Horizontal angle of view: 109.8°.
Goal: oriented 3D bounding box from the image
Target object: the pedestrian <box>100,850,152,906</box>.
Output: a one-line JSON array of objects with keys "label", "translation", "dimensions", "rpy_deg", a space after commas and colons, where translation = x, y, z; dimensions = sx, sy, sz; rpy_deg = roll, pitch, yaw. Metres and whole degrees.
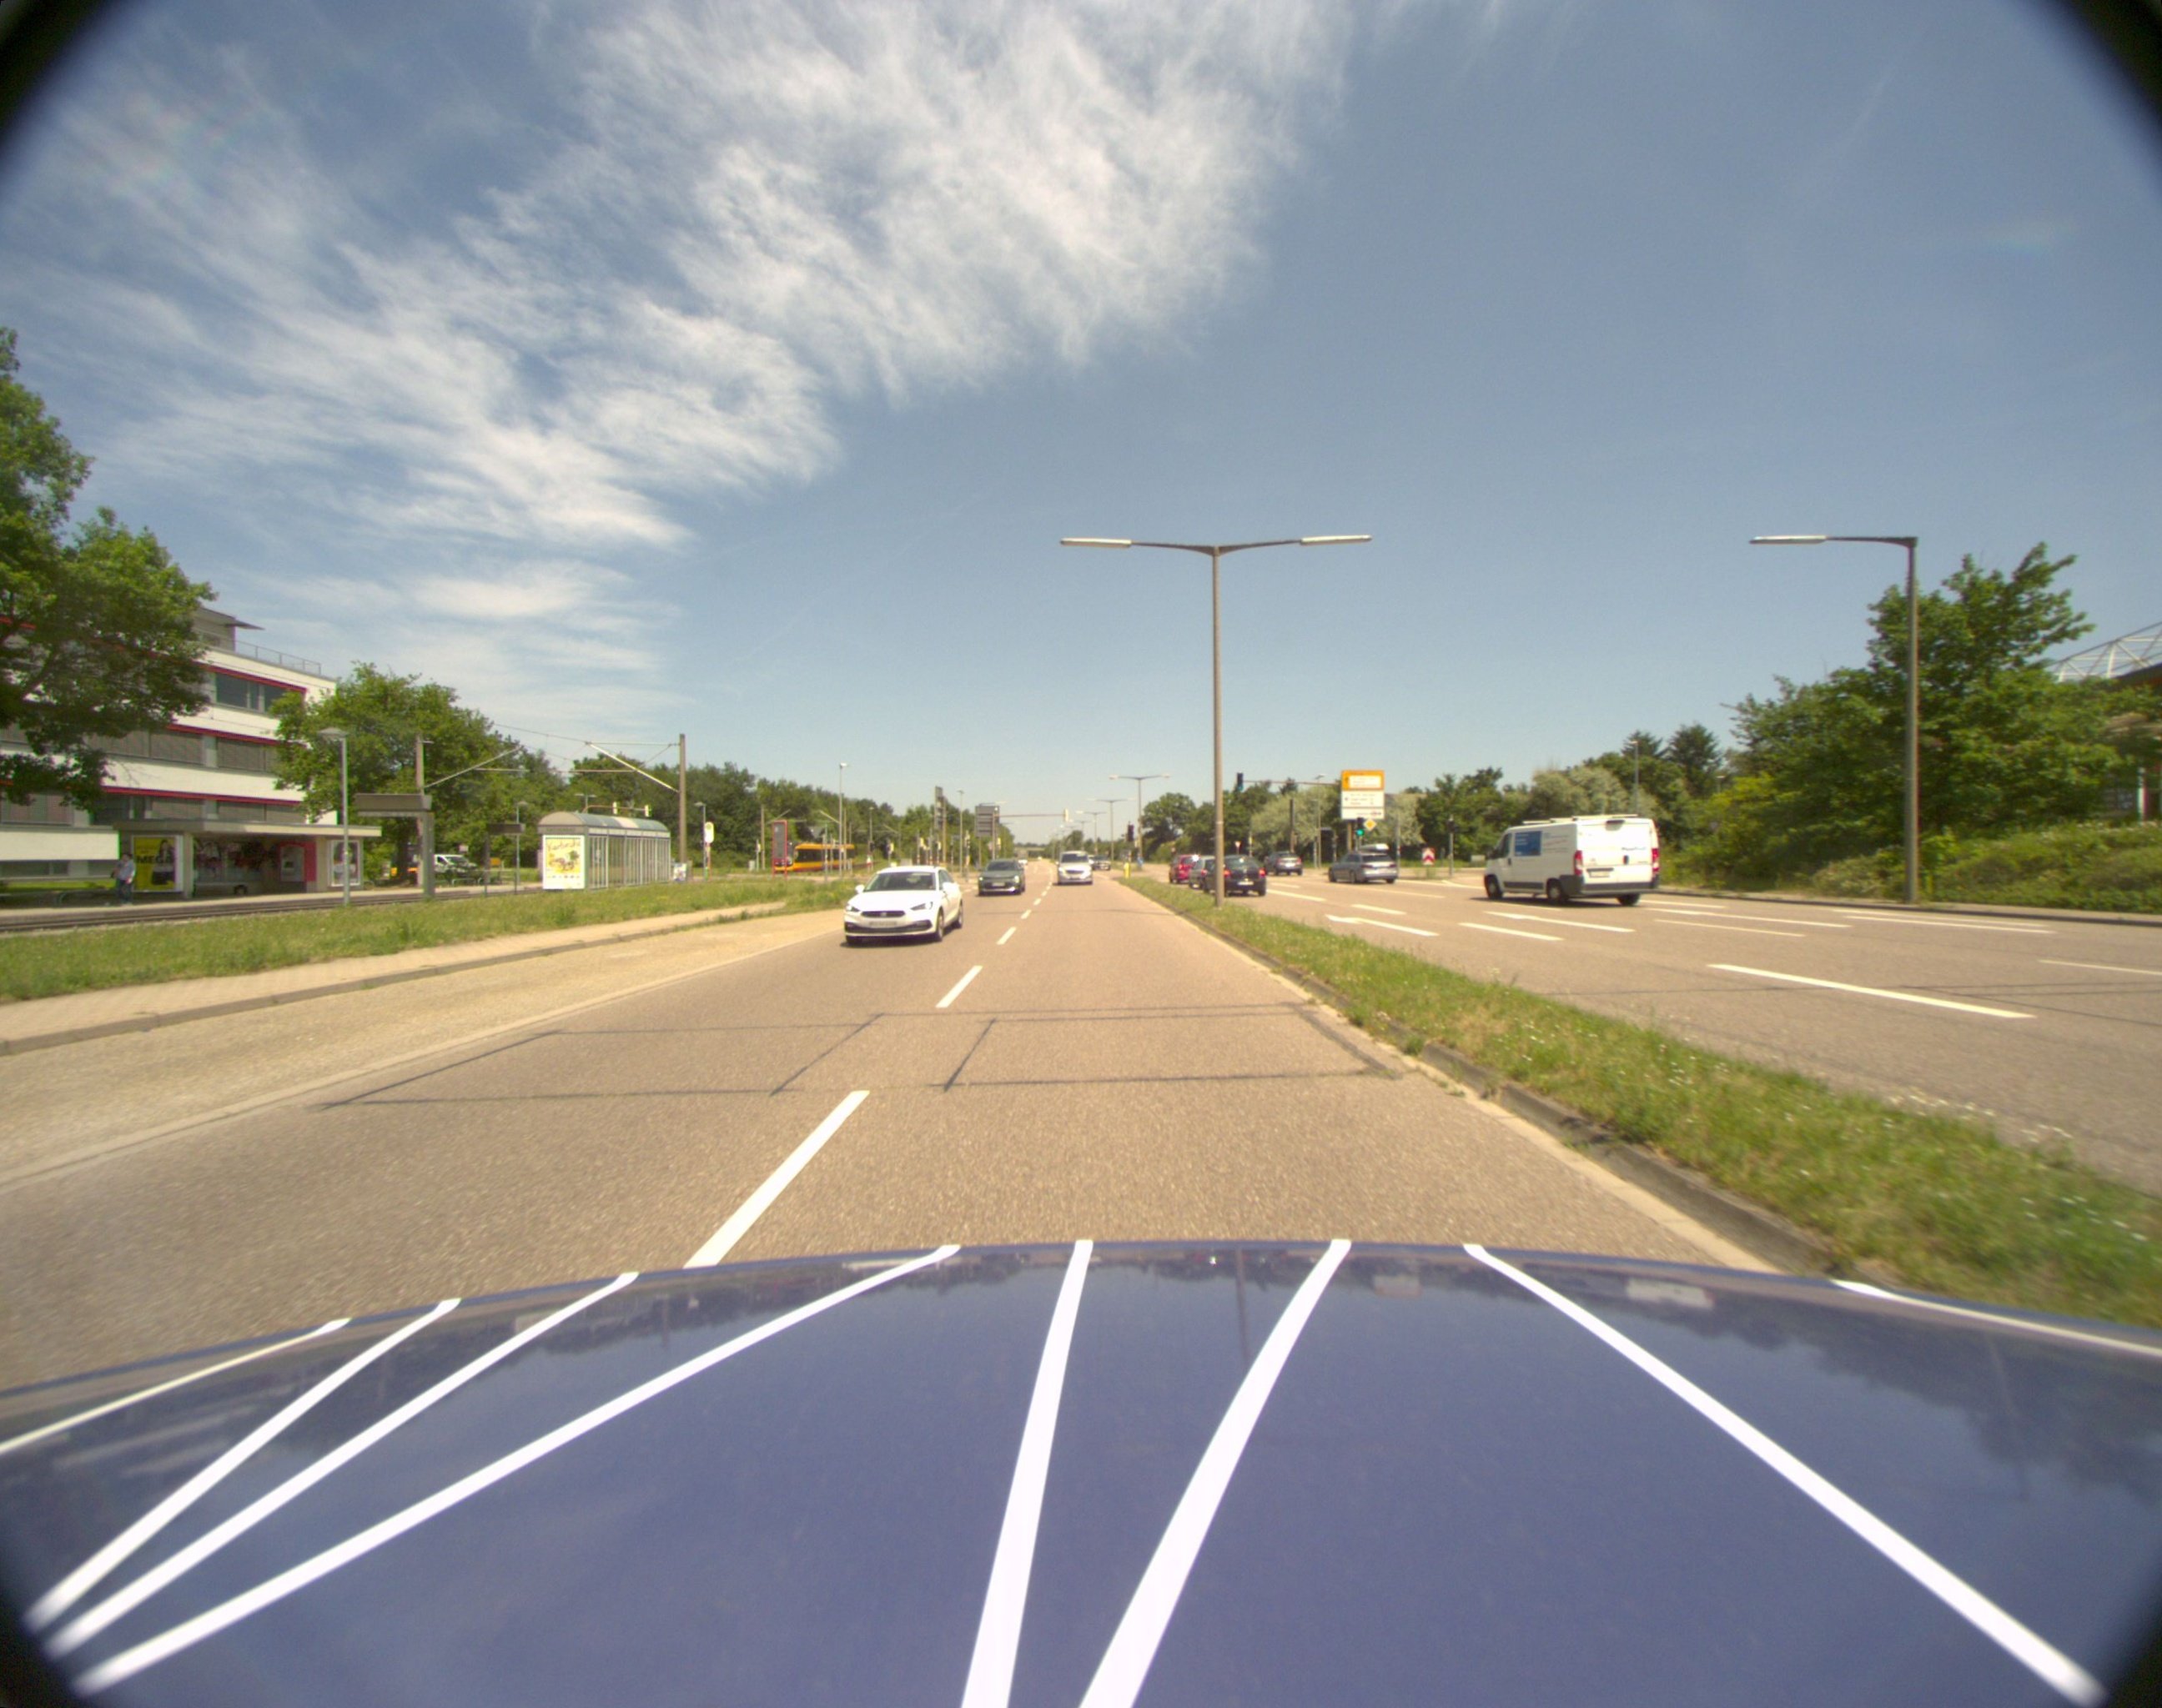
[{"label": "pedestrian", "translation": [-27.891, 0.686, 22.194], "dimensions": [0.553, 1.599, 0.690], "rpy_deg": [-2, 1, 0]}]

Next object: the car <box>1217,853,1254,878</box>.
[{"label": "car", "translation": [9.335, 0.665, 46.022], "dimensions": [1.451, 1.437, 3.505], "rpy_deg": [-1, 0, -1]}]

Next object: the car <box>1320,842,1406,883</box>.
[{"label": "car", "translation": [13.067, 0.364, 35.616], "dimensions": [1.970, 1.740, 5.020], "rpy_deg": [-1, 0, -2]}]

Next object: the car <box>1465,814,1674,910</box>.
[{"label": "car", "translation": [13.147, 0.180, 21.027], "dimensions": [2.255, 2.260, 5.448], "rpy_deg": [-2, 0, 0]}]

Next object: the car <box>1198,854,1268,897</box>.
[{"label": "car", "translation": [5.544, 0.739, 28.203], "dimensions": [1.680, 1.426, 4.190], "rpy_deg": [-1, 0, 0]}]

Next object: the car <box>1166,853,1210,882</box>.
[{"label": "car", "translation": [5.629, 0.686, 40.468], "dimensions": [1.663, 1.482, 3.999], "rpy_deg": [-1, 0, -2]}]

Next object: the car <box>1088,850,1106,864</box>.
[{"label": "car", "translation": [1.998, 0.383, 95.519], "dimensions": [1.922, 1.661, 4.000], "rpy_deg": [0, 0, -3]}]

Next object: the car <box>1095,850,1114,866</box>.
[{"label": "car", "translation": [2.520, 0.397, 83.276], "dimensions": [1.785, 1.658, 4.530], "rpy_deg": [-1, 0, -2]}]

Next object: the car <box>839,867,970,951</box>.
[{"label": "car", "translation": [-3.488, 1.029, 15.855], "dimensions": [1.686, 1.381, 4.450], "rpy_deg": [-1, 0, 0]}]

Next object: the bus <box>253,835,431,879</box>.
[{"label": "bus", "translation": [-55.746, 0.214, 57.360], "dimensions": [12.061, 3.102, 2.841], "rpy_deg": [-1, 1, 9]}]

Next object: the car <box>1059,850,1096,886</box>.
[{"label": "car", "translation": [-0.221, 0.747, 42.986], "dimensions": [1.876, 1.866, 5.731], "rpy_deg": [-1, 0, -1]}]

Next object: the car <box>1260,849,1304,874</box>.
[{"label": "car", "translation": [13.128, 0.480, 49.898], "dimensions": [1.663, 1.530, 3.999], "rpy_deg": [-1, 0, -2]}]

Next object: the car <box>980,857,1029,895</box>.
[{"label": "car", "translation": [-3.336, 0.918, 33.665], "dimensions": [1.723, 1.587, 4.000], "rpy_deg": [0, 0, 0]}]

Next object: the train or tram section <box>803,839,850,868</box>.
[{"label": "train or tram section", "translation": [-33.104, -0.051, 99.358], "dimensions": [2.822, 3.561, 12.495], "rpy_deg": [-1, 0, -5]}]

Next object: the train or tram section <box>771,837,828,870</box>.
[{"label": "train or tram section", "translation": [-31.974, -0.057, 86.897], "dimensions": [2.822, 3.561, 12.495], "rpy_deg": [-1, 0, -5]}]

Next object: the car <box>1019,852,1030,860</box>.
[{"label": "car", "translation": [-11.732, 0.423, 158.748], "dimensions": [1.998, 1.652, 4.000], "rpy_deg": [0, 0, 1]}]

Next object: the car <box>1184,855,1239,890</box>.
[{"label": "car", "translation": [5.654, 0.780, 33.311], "dimensions": [1.565, 1.415, 3.853], "rpy_deg": [-1, 0, -2]}]
